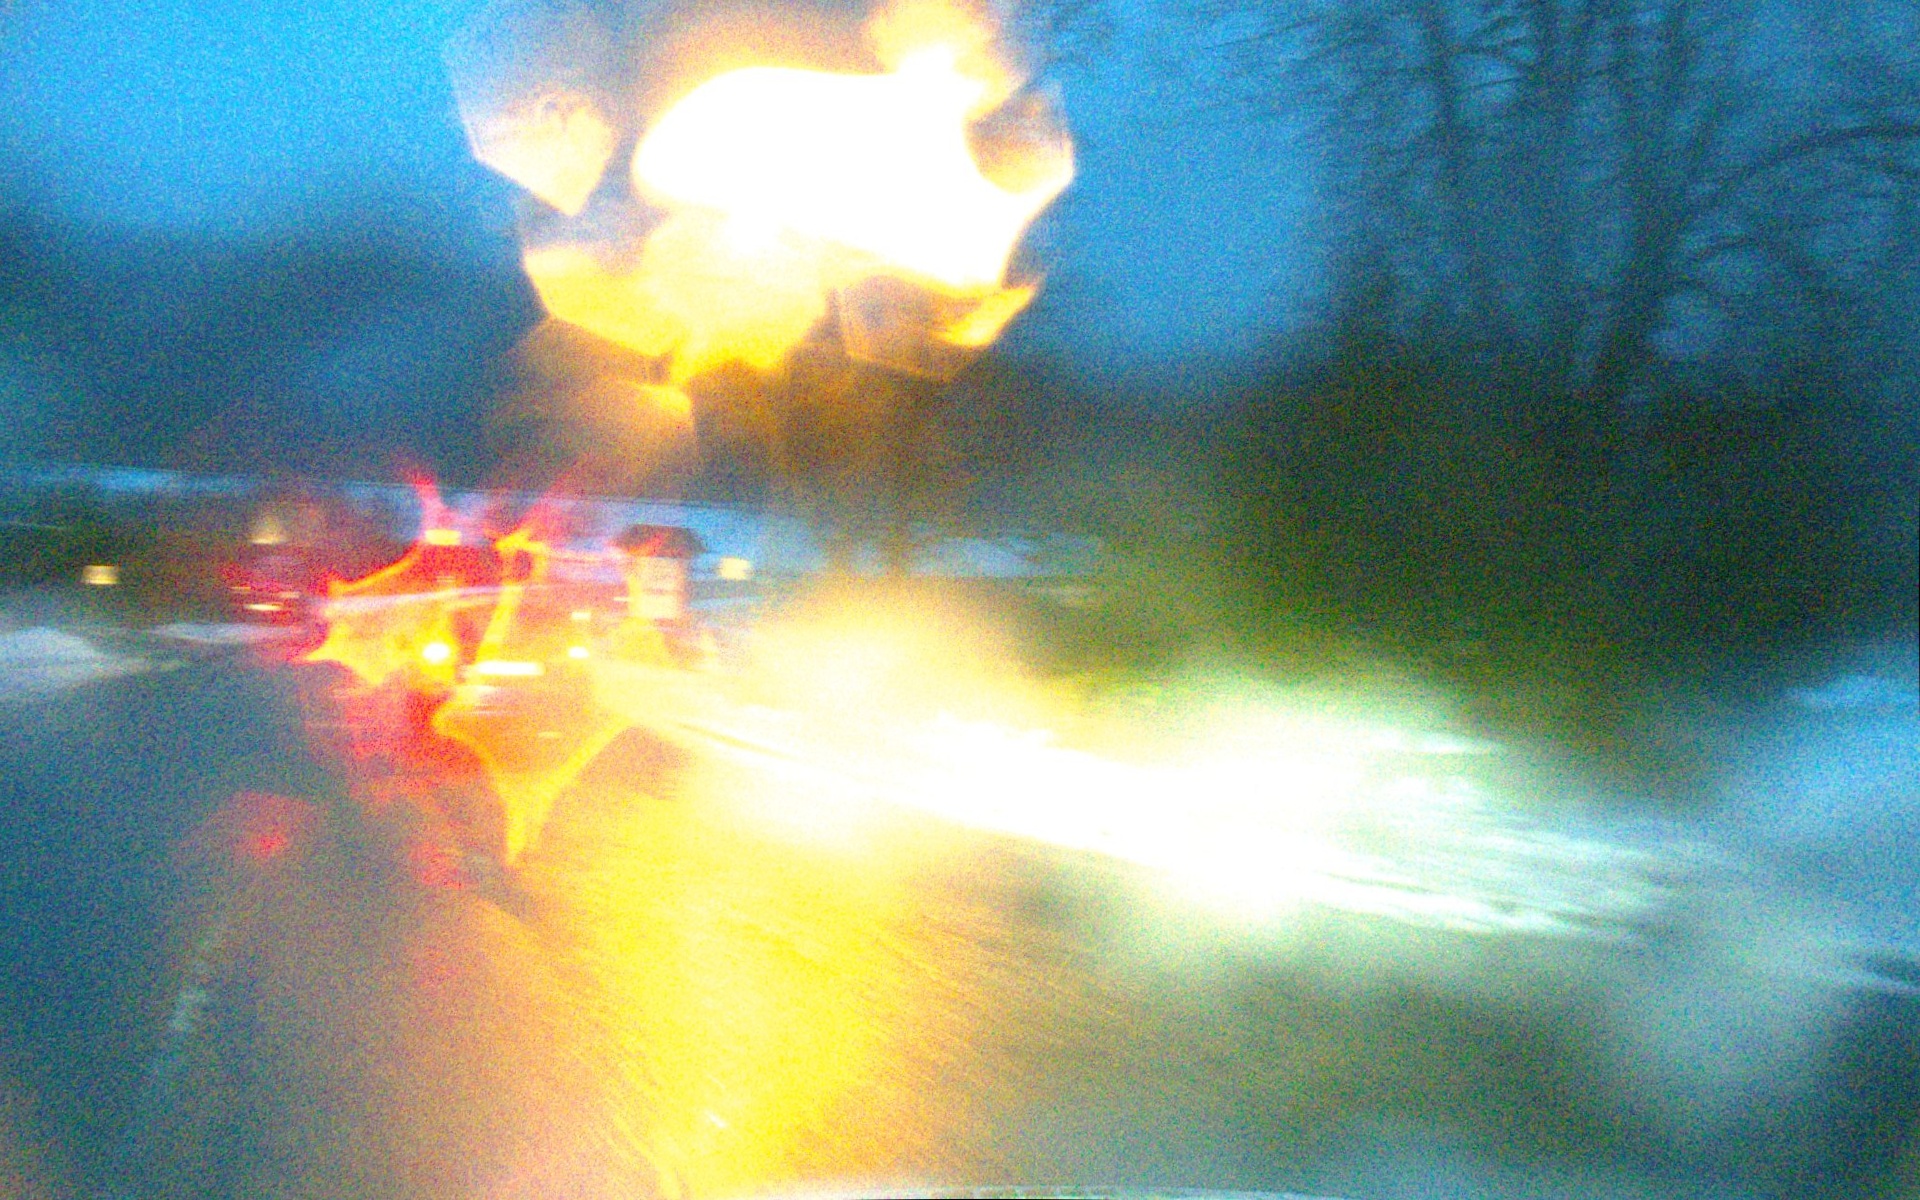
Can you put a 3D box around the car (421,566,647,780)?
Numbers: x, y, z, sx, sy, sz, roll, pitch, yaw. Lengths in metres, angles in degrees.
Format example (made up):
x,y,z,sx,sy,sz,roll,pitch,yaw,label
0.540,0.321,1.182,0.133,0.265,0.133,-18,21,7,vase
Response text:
x,y,z,sx,sy,sz,roll,pitch,yaw,label
-4.310,0.612,16.372,1.796,1.828,3.556,1,1,-20,car

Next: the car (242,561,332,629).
x,y,z,sx,sy,sz,roll,pitch,yaw,label
-17.588,-0.170,43.339,1.690,1.560,3.503,3,1,-15,car
